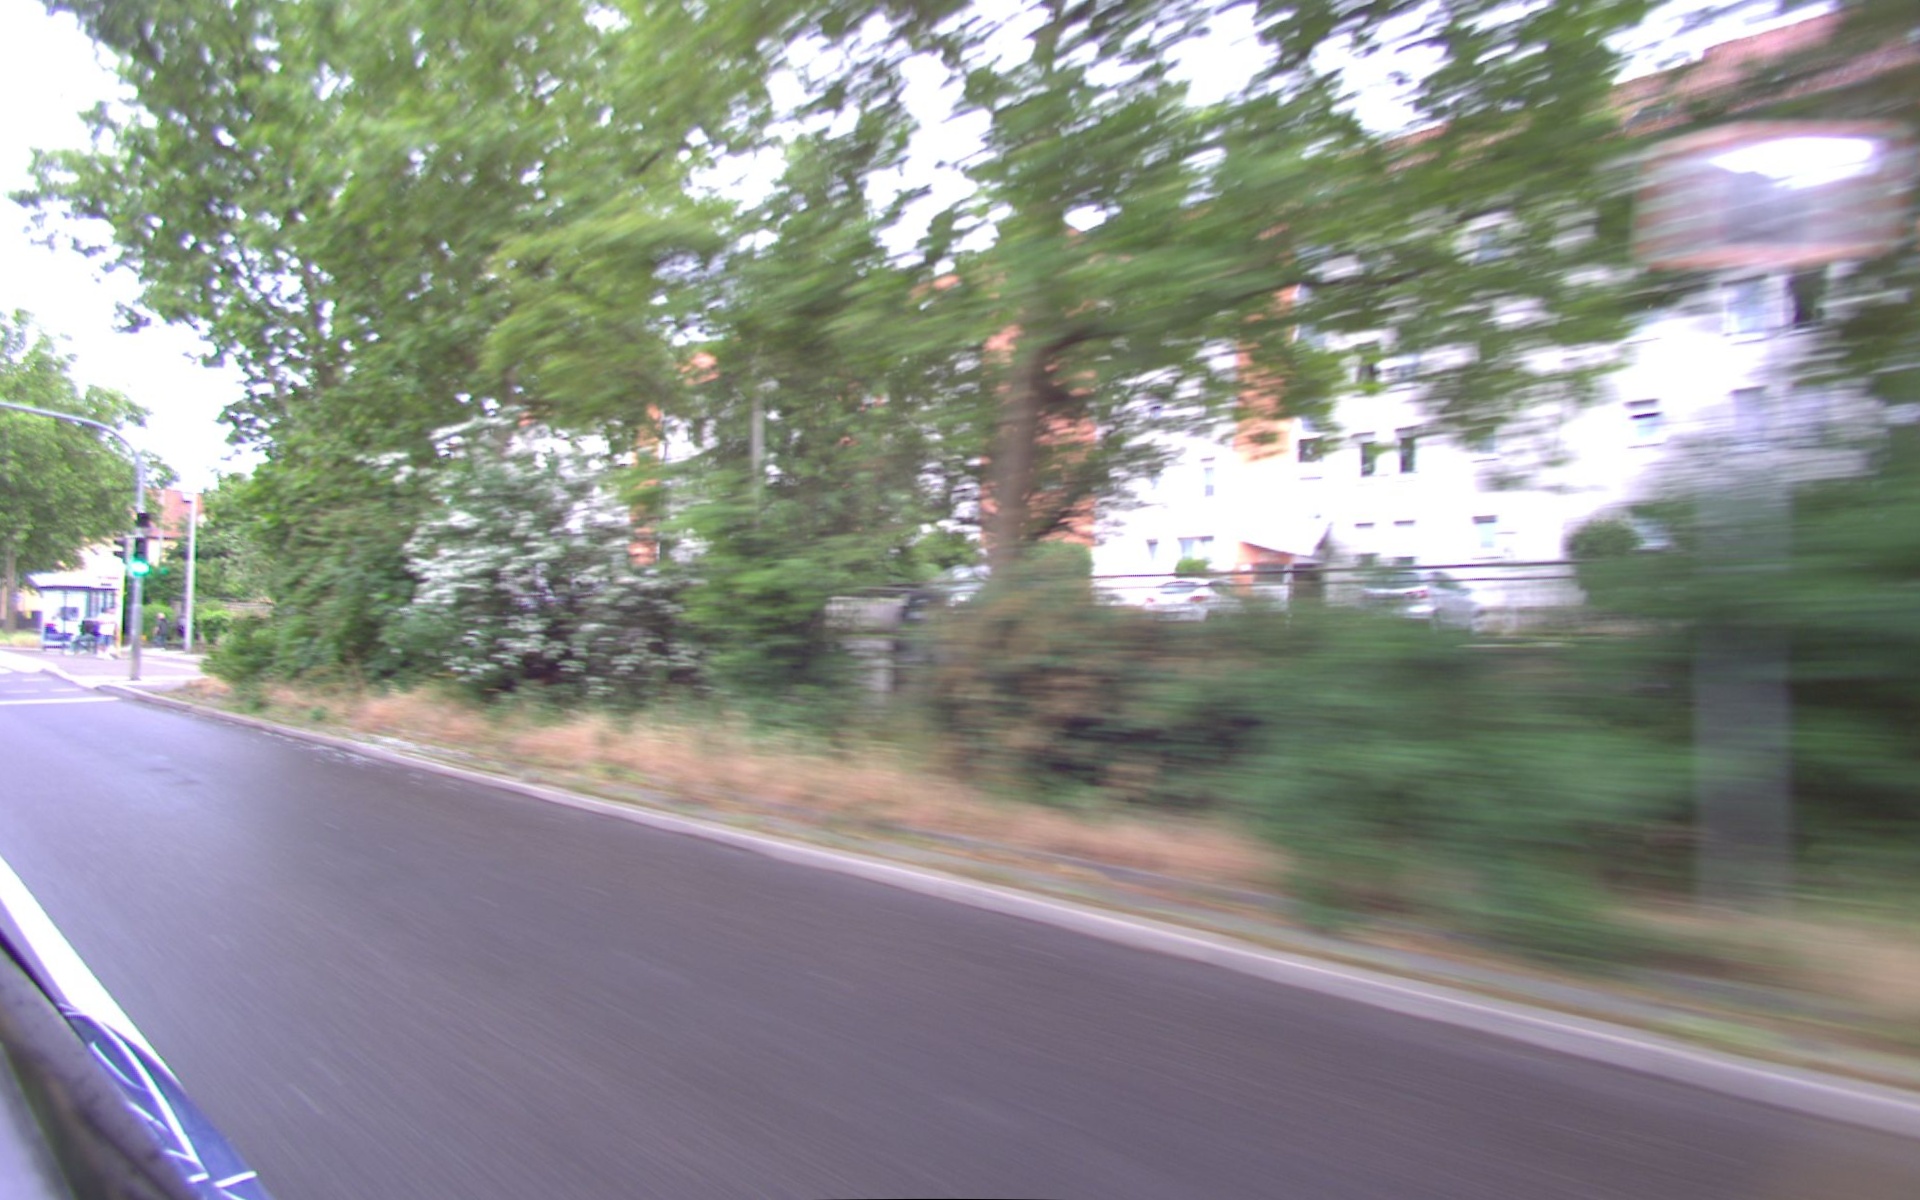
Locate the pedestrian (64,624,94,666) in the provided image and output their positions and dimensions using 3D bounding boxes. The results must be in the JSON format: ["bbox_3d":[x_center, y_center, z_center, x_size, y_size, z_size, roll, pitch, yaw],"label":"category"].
[{"bbox_3d":[-31.503,1.605,36.186,0.641,1.429,0.680,1,-4,44],"label":"pedestrian"}]

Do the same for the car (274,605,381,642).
[{"bbox_3d":[-28.136,1.015,45.108,1.894,1.509,3.619,1,0,37],"label":"car"}]

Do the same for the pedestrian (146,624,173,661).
[{"bbox_3d":[-35.562,1.873,44.945,0.833,1.623,0.748,1,0,36],"label":"pedestrian"}]

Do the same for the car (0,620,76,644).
[{"bbox_3d":[-65.864,2.248,72.022,1.980,1.550,4.166,1,1,39],"label":"car"}]

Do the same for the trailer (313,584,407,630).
[{"bbox_3d":[-22.236,0.264,37.571,1.479,1.658,2.676,0,-1,41],"label":"trailer"}]

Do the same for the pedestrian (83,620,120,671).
[{"bbox_3d":[-28.241,1.486,33.297,0.607,1.610,0.733,1,-5,44],"label":"pedestrian"}]

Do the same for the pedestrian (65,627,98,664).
[{"bbox_3d":[-32.116,1.664,36.989,0.641,1.327,0.766,1,-3,44],"label":"pedestrian"}]

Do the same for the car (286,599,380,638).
[{"bbox_3d":[-26.273,0.760,42.455,1.436,1.554,3.098,1,0,40],"label":"car"}]
